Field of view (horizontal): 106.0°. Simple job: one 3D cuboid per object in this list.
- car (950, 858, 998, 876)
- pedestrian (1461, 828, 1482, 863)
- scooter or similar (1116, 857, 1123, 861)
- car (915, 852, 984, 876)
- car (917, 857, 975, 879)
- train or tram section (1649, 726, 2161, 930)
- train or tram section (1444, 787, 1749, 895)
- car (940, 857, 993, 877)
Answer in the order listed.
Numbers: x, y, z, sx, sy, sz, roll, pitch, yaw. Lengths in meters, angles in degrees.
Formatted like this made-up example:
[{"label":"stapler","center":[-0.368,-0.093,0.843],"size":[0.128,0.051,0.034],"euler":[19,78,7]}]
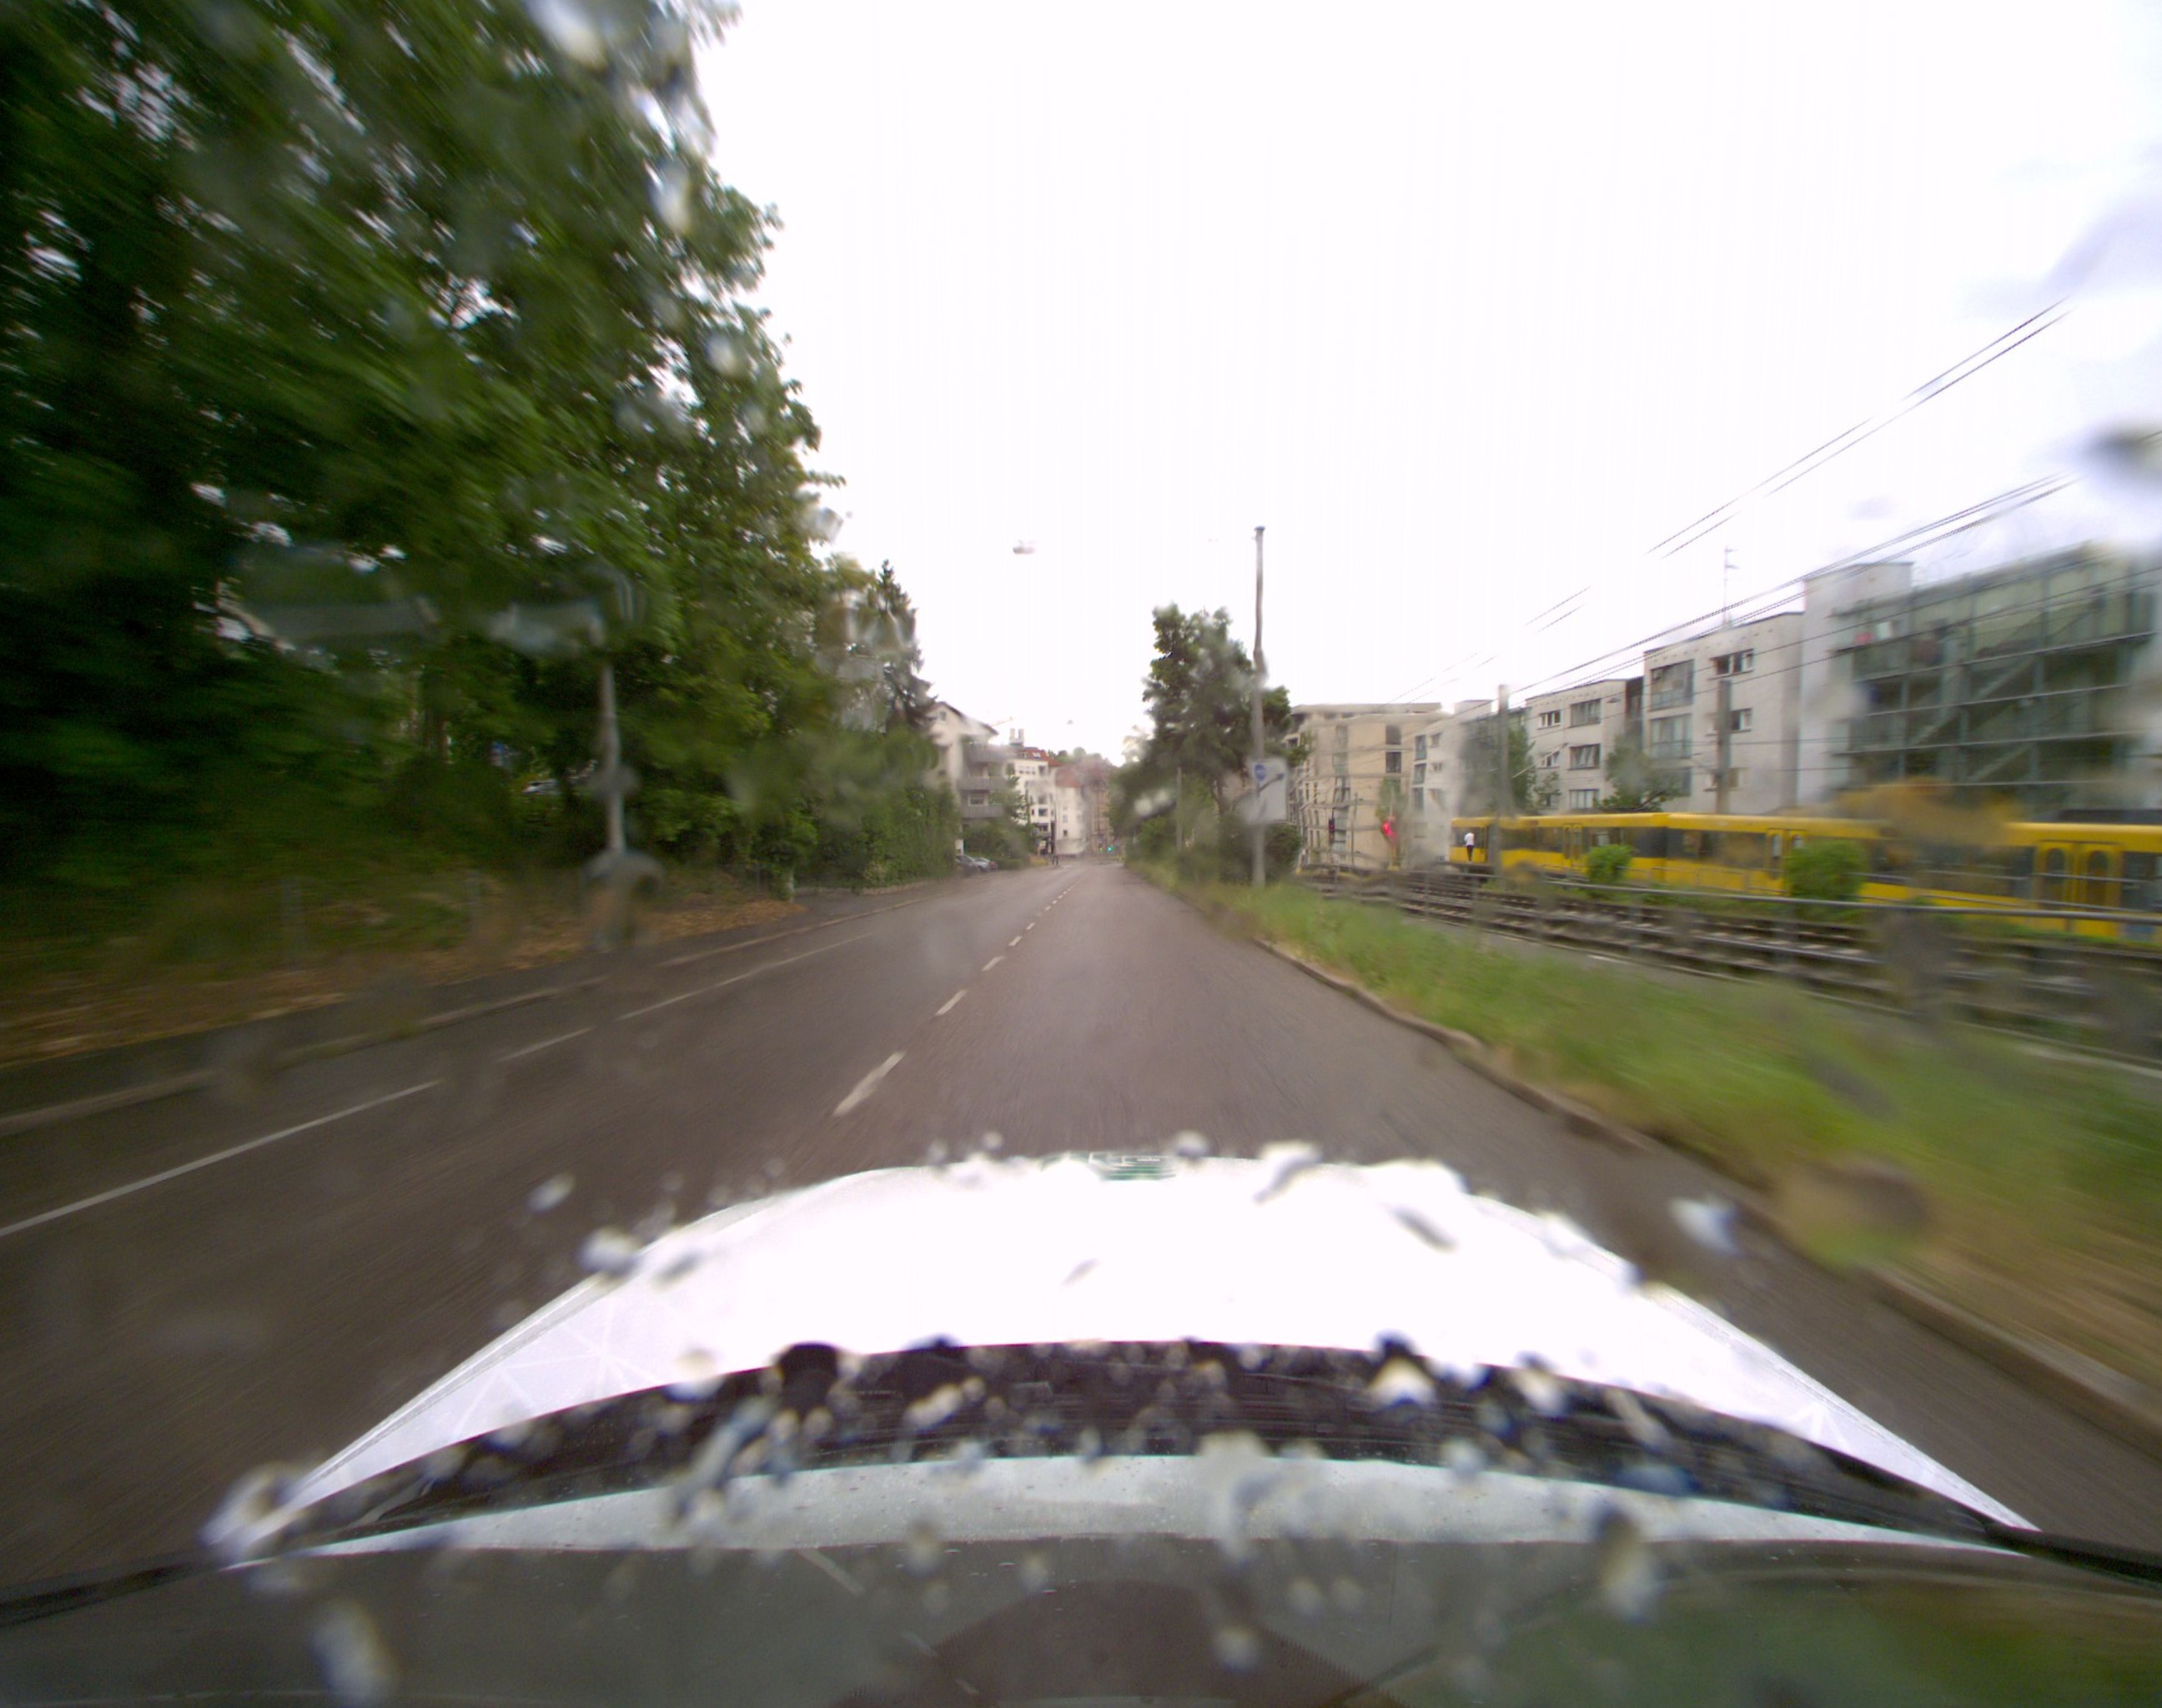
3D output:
[{"label":"car","center":[-8.695,1.062,66.261],"size":[3.616,1.407,1.785],"euler":[0,-1,3]},{"label":"pedestrian","center":[21.232,-0.446,44.257],"size":[0.719,1.880,0.817],"euler":[-1,-2,2]},{"label":"scooter or similar","center":[6.617,0.821,139.787],"size":[0.480,0.761,1.338],"euler":[-1,0,29]},{"label":"car","center":[-9.044,0.682,56.190],"size":[4.434,1.602,1.814],"euler":[0,1,0]},{"label":"car","center":[-8.794,0.901,53.384],"size":[3.625,1.405,1.713],"euler":[0,-1,-5]},{"label":"train or tram section","center":[22.777,-0.514,20.947],"size":[3.318,3.947,19.287],"euler":[0,0,1]},{"label":"train or tram section","center":[23.272,-0.465,39.534],"size":[3.318,3.947,18.818],"euler":[0,0,1]},{"label":"car","center":[-8.958,0.997,63.940],"size":[3.978,1.559,1.878],"euler":[0,-1,-3]}]
